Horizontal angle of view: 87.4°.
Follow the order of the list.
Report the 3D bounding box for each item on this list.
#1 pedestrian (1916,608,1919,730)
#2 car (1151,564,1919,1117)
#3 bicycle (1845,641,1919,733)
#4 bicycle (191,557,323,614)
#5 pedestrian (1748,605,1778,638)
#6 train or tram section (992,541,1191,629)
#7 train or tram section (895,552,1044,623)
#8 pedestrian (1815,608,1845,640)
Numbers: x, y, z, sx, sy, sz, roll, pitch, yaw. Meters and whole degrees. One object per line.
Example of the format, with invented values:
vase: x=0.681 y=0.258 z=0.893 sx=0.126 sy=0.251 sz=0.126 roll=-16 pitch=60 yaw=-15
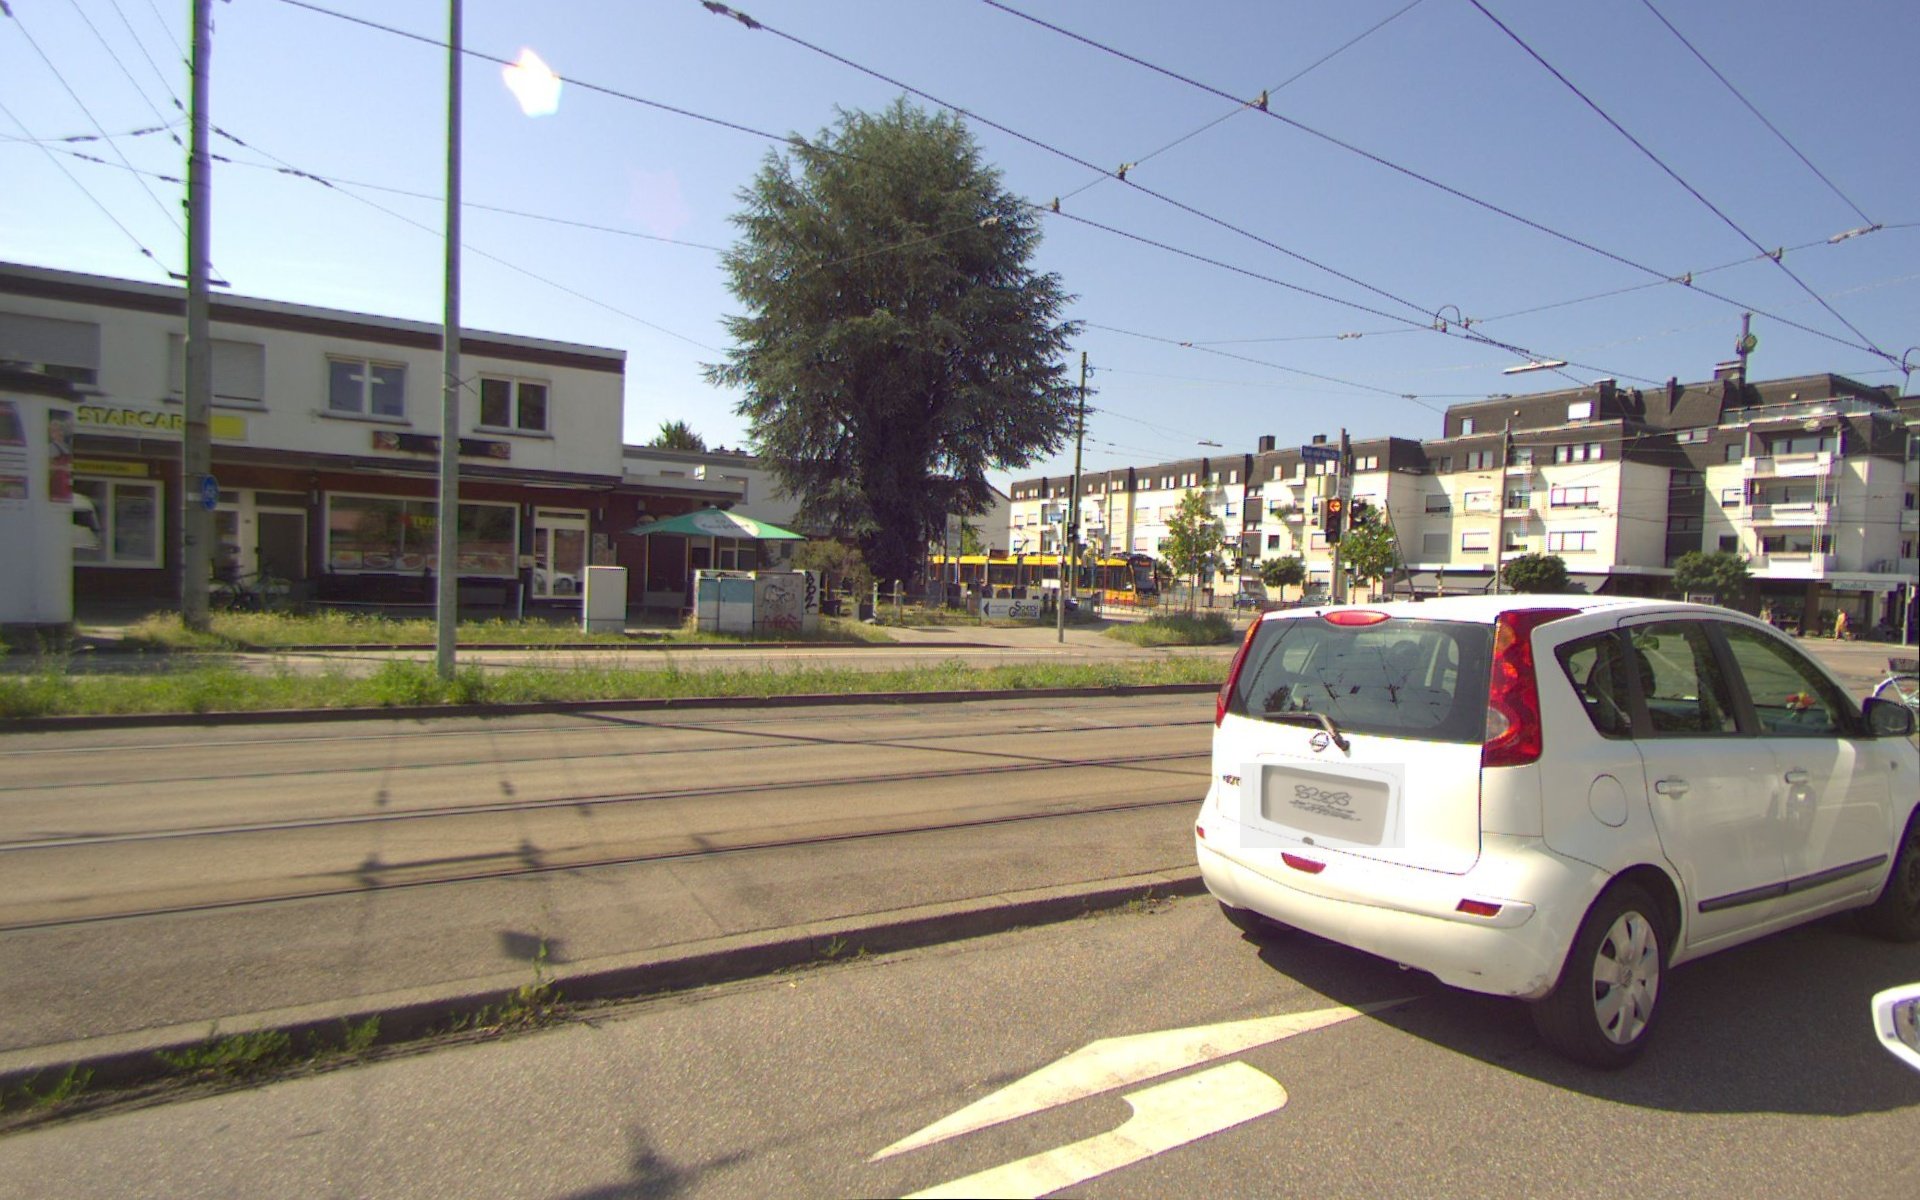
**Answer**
pedestrian: x=12.967 y=0.907 z=13.055 sx=0.670 sy=1.593 sz=0.738 roll=0 pitch=1 yaw=-43
car: x=2.845 y=0.699 z=4.554 sx=3.759 sy=1.587 sz=1.634 roll=0 pitch=0 yaw=-31
bicycle: x=12.514 y=1.133 z=12.637 sx=0.705 sy=1.105 sz=1.999 roll=1 pitch=2 yaw=-44
bicycle: x=-15.522 y=-0.298 z=22.271 sx=2.306 sy=1.167 sz=0.783 roll=2 pitch=-1 yaw=-30
pedestrian: x=44.346 y=1.175 z=55.468 sx=0.956 sy=1.766 sz=0.864 roll=2 pitch=-1 yaw=-3
train or tram section: x=8.521 y=-0.906 z=69.389 sx=4.681 sy=5.217 sz=16.121 roll=2 pitch=-1 yaw=-30
train or tram section: x=0.364 y=-0.940 z=83.289 sx=4.681 sy=5.217 sz=16.121 roll=2 pitch=-1 yaw=-30
pedestrian: x=48.434 y=1.324 z=55.911 sx=0.955 sy=1.766 sz=0.864 roll=2 pitch=-1 yaw=19
